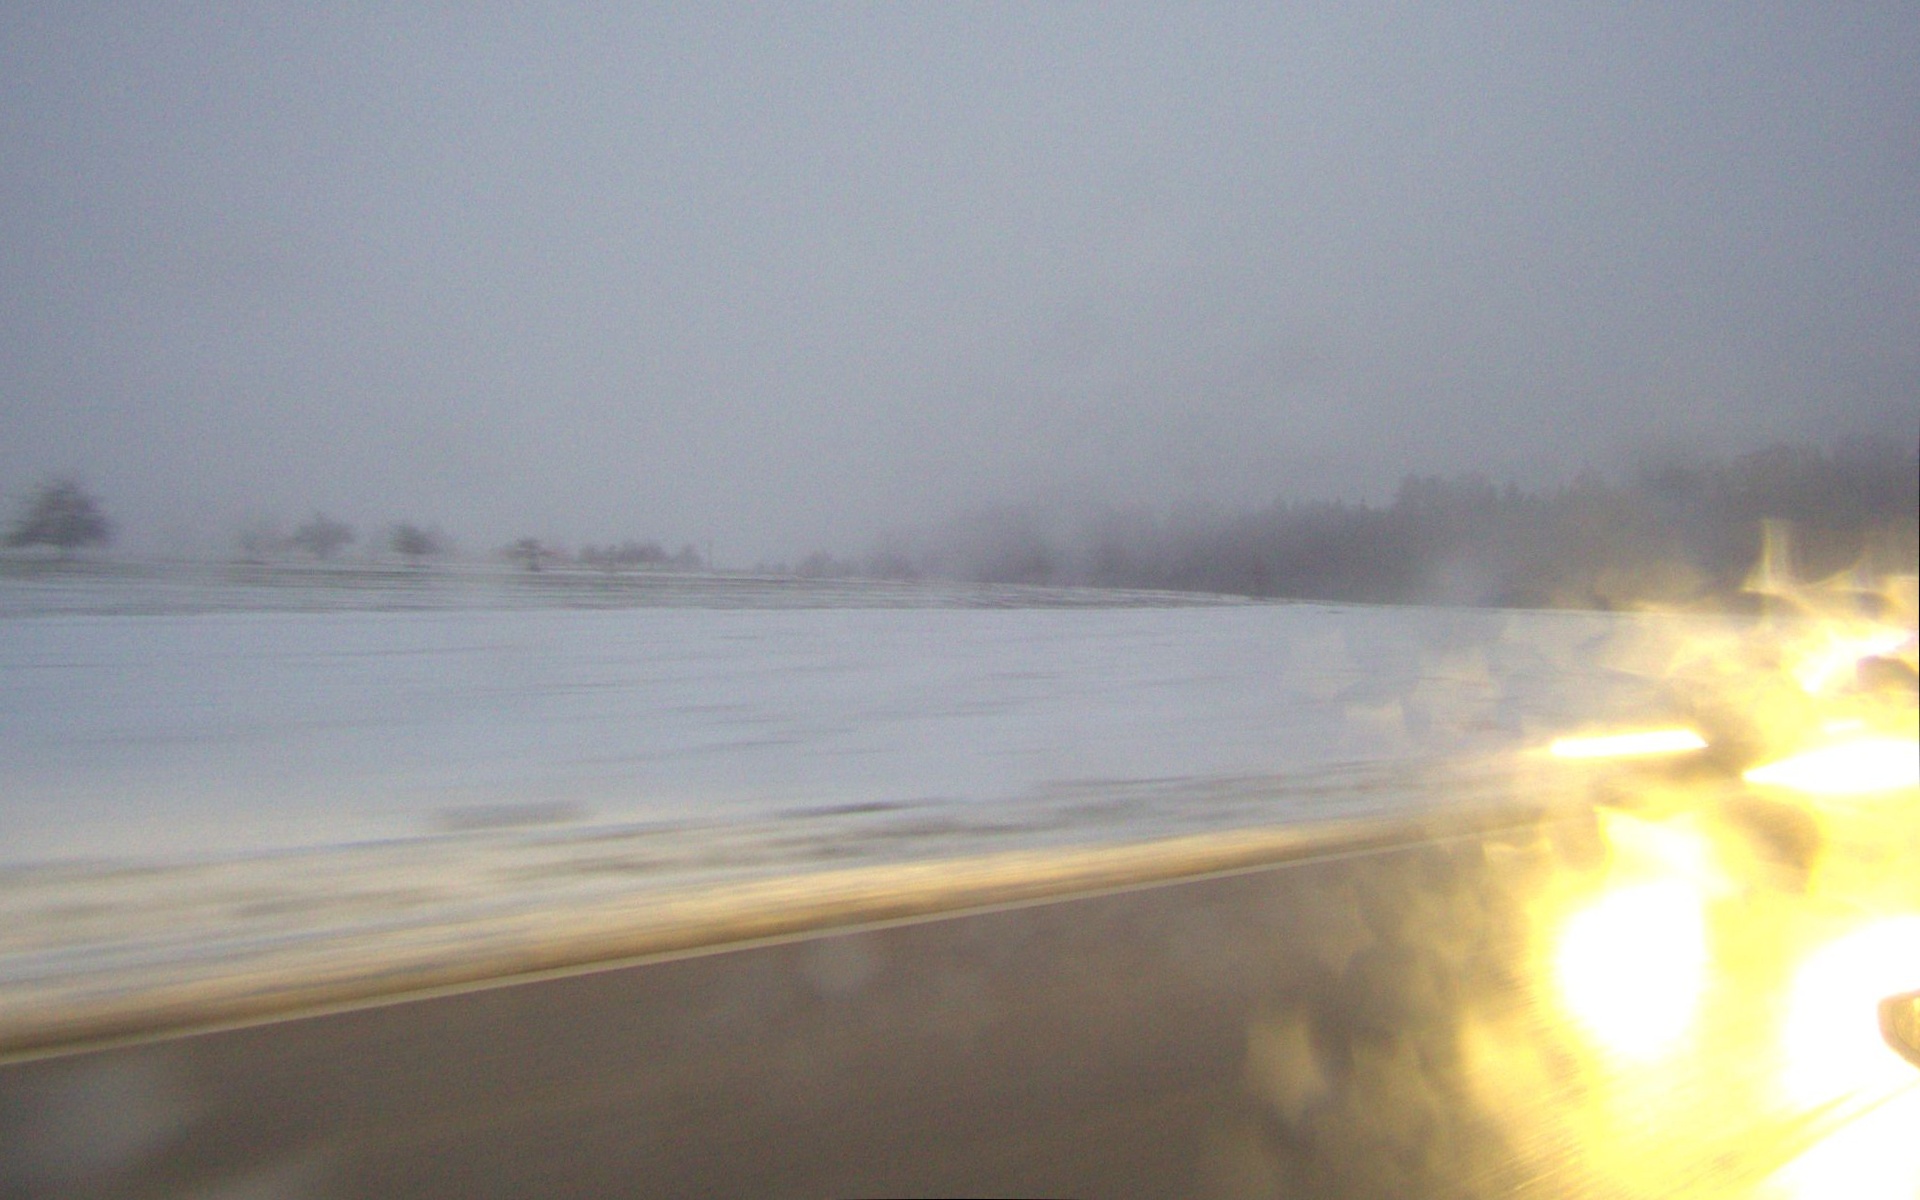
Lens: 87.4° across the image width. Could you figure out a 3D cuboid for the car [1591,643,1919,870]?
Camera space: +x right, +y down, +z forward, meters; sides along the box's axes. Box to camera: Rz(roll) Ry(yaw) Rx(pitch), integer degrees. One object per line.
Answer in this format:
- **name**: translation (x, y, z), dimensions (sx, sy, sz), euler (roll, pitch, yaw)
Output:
- **car**: translation (7.038, 1.043, 7.978), dimensions (4.172, 1.364, 1.719), euler (2, -2, -30)
